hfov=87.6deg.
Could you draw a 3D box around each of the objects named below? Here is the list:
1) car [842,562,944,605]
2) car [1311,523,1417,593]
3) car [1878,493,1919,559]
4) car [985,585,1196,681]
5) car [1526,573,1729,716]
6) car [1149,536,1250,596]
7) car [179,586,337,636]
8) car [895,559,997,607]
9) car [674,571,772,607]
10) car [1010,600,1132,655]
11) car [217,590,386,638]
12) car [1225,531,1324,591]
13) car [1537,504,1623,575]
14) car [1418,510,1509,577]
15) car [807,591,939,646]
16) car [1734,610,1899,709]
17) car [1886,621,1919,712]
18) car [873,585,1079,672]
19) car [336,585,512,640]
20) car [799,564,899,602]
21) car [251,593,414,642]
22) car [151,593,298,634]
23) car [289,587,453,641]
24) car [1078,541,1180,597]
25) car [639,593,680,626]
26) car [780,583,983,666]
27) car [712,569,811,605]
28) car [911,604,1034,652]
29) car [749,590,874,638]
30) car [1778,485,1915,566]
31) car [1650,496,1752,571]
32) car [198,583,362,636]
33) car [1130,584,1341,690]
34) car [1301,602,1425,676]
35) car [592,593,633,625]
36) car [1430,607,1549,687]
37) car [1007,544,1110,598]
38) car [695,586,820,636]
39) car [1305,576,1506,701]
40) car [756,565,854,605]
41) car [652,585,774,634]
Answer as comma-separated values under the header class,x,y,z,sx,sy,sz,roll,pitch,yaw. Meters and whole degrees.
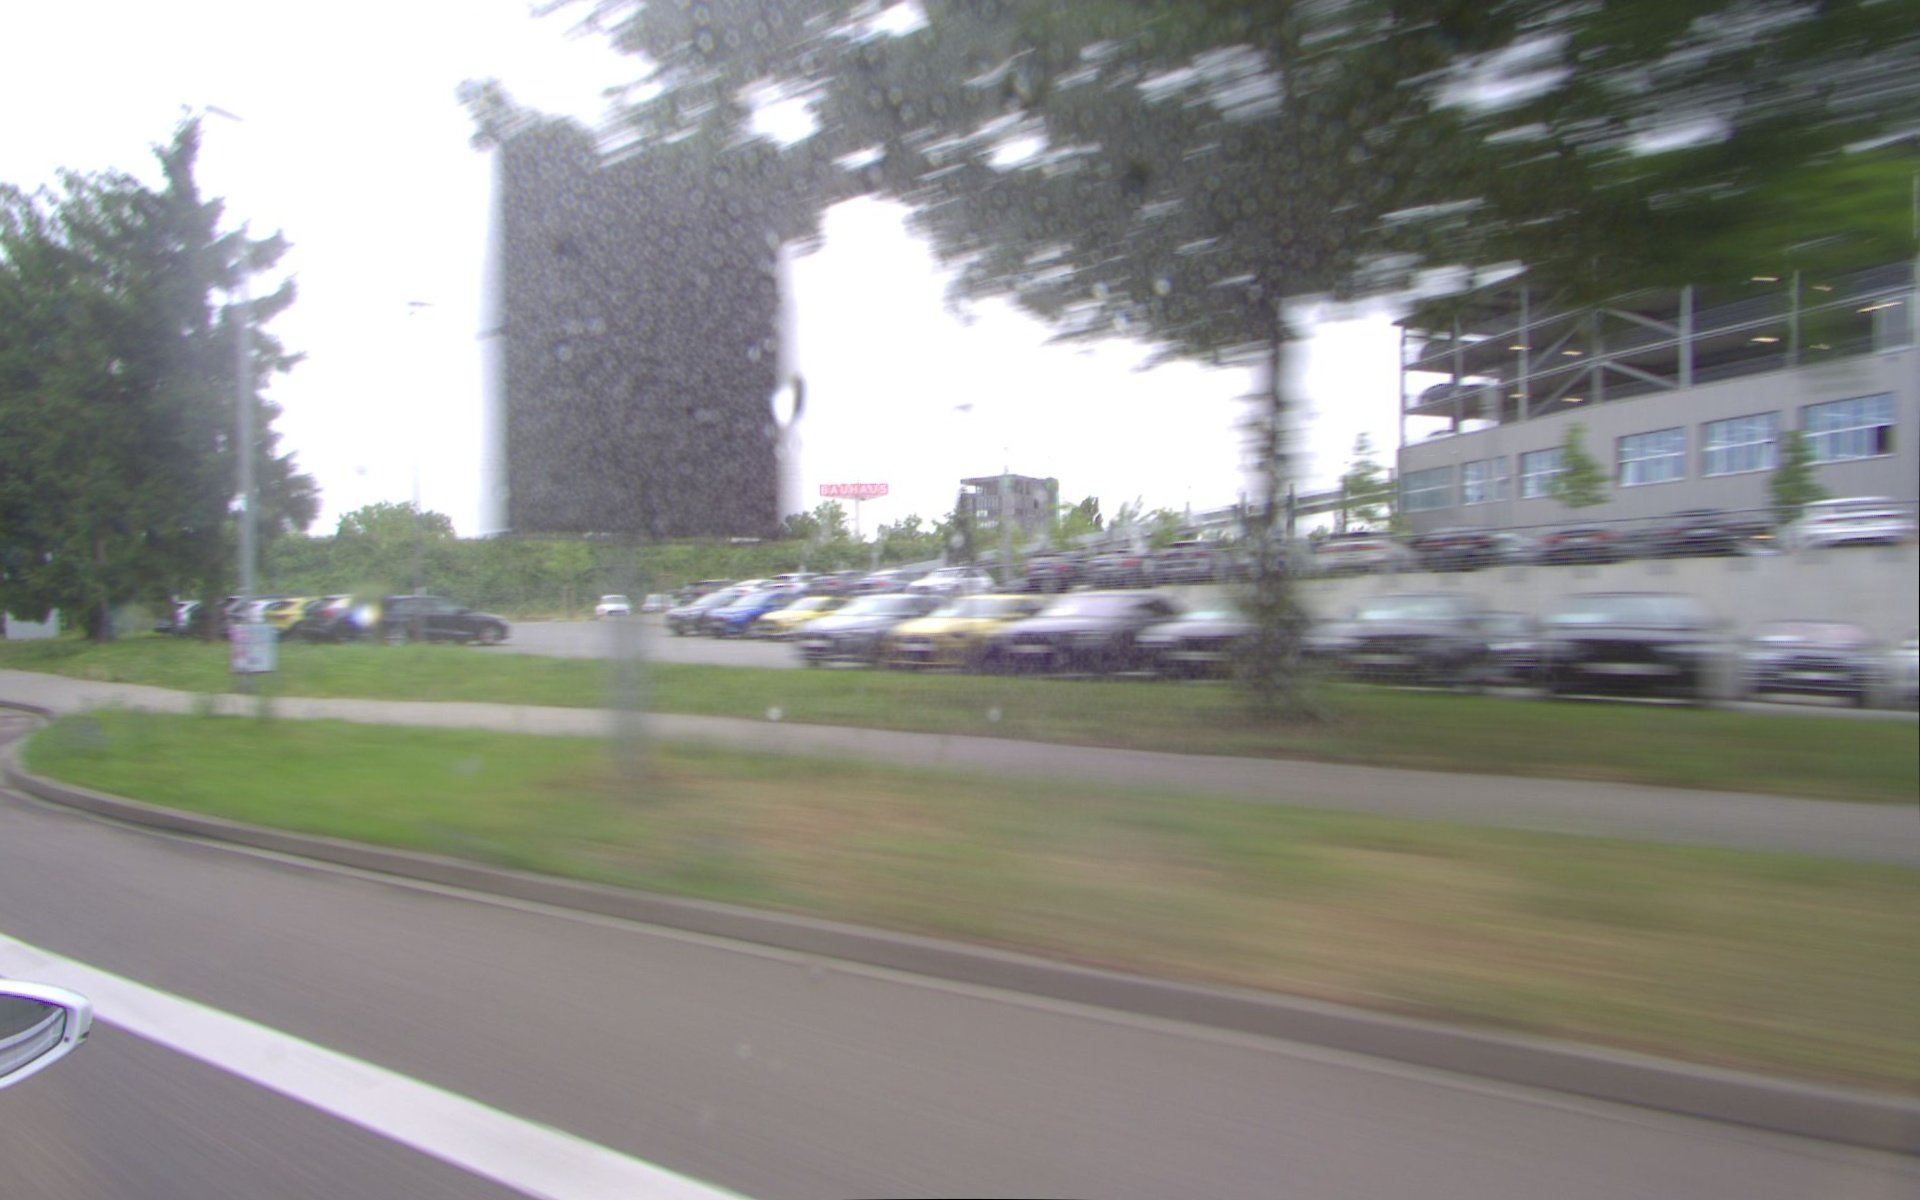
class,x,y,z,sx,sy,sz,roll,pitch,yaw
car,-2.589,-0.590,39.496,1.806,1.389,4.290,0,-3,33
car,11.860,-1.146,29.229,1.871,1.611,4.286,0,-3,36
car,27.169,-2.024,27.790,1.806,1.380,4.290,0,-3,33
car,2.302,0.579,16.636,1.715,1.375,4.288,0,-3,35
car,8.374,0.568,12.582,1.819,1.463,4.288,0,-3,35
car,7.738,-1.017,32.062,1.806,1.530,4.290,0,-3,33
car,-25.488,0.446,36.488,1.941,1.621,4.291,0,-3,33
car,-0.466,-0.592,38.165,1.806,1.554,4.290,0,-3,33
car,-10.687,-0.461,45.403,1.806,1.391,4.290,0,-3,33
car,3.278,0.840,29.050,1.876,1.477,3.898,0,-3,35
car,-21.626,0.499,33.035,1.877,1.400,4.286,0,-3,36
car,9.748,-1.142,30.815,1.838,1.451,4.290,0,-3,33
car,16.506,-1.527,26.617,1.806,1.380,4.290,0,-3,33
car,14.014,-1.480,27.762,1.806,1.380,4.290,0,-3,33
car,-2.752,0.654,32.496,1.878,1.621,4.285,0,-3,37
car,16.111,1.159,19.060,1.945,1.620,4.290,1,-4,35
car,18.364,1.254,17.960,1.875,1.620,4.292,2,-4,34
car,0.406,0.558,18.198,1.771,1.394,4.036,0,-3,35
car,-15.160,0.406,28.509,1.877,1.370,3.982,0,-3,36
car,-4.500,-0.658,41.148,1.806,1.263,4.290,0,-3,33
car,-19.709,0.598,31.602,1.787,1.396,3.983,0,-3,37
car,-28.478,0.535,38.897,1.713,1.509,4.293,0,-1,29
car,-17.461,0.460,29.837,1.926,1.441,3.744,0,-3,34
car,5.741,-0.973,33.646,1.806,1.544,4.290,0,-3,33
car,-16.904,0.551,56.203,1.936,1.673,4.302,2,-2,-20
car,-1.417,0.535,19.645,1.716,1.449,4.179,0,-3,35
car,-8.660,-0.518,44.091,1.806,1.306,4.290,0,-3,33
car,0.477,0.805,31.186,1.875,1.346,4.288,1,1,32
car,-4.992,0.487,34.202,1.876,1.526,4.287,0,-1,34
car,20.847,-1.673,23.730,1.806,1.380,4.290,0,-3,33
car,18.654,-1.589,25.377,1.806,1.380,4.290,0,-3,33
car,-23.486,0.370,34.705,1.943,1.621,4.286,0,-3,36
car,4.377,0.594,15.436,1.813,1.395,4.288,0,-3,35
car,9.798,0.968,24.149,1.876,1.621,4.288,0,-3,35
car,-19.342,0.523,55.598,1.874,1.586,4.662,2,-3,-22
car,11.994,1.056,22.540,1.876,1.621,4.288,0,-3,35
car,3.525,-0.973,35.250,1.833,1.546,4.290,0,-3,33
car,-7.170,0.380,35.754,1.875,1.648,4.287,2,1,34
car,6.367,0.566,14.021,1.819,1.463,4.288,0,-3,35
car,-6.516,-0.585,42.592,1.676,1.399,4.290,0,-3,33
car,-9.212,0.404,37.611,1.876,1.621,4.289,0,-3,34
